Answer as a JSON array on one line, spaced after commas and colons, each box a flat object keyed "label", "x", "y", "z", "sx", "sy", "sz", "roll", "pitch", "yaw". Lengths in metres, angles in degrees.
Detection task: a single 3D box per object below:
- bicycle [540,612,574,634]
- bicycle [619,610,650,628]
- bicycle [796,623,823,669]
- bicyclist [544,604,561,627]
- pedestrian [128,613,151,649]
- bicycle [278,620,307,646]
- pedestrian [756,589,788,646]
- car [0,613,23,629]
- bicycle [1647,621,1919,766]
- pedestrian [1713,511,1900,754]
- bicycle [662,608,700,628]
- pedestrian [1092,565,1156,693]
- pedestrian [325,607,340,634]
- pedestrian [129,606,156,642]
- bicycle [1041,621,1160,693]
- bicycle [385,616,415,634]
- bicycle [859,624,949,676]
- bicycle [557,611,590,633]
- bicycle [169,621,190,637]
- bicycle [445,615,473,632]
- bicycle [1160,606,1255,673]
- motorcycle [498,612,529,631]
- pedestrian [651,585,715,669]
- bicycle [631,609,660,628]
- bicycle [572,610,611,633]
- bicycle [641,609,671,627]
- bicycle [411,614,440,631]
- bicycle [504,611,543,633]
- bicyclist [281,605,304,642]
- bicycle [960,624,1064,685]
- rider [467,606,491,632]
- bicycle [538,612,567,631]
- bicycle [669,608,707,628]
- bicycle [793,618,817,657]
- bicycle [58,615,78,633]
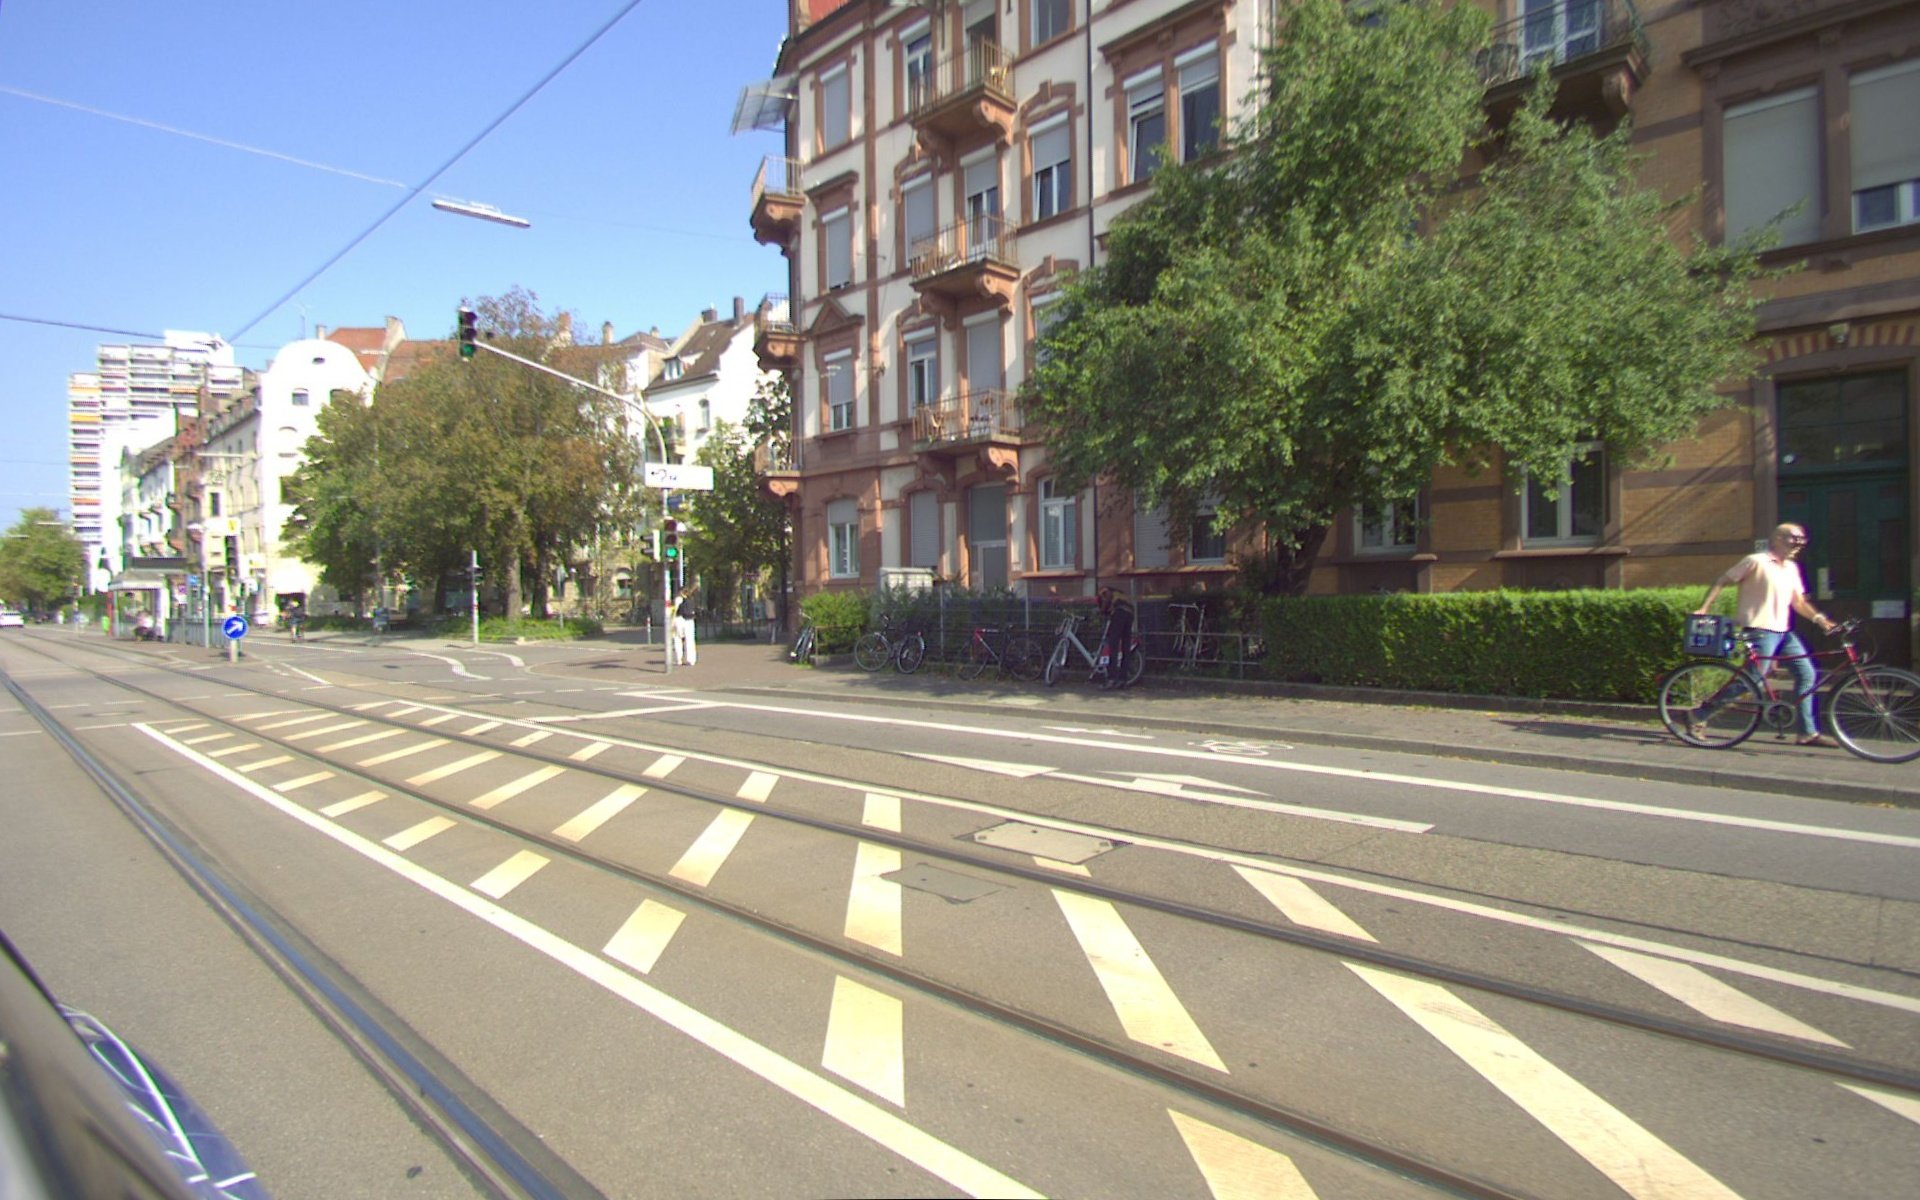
[{"label": "bicycle", "x": -26.595, "y": 1.502, "z": 66.782, "sx": 0.859, "sy": 1.381, "sz": 2.292, "roll": -1, "pitch": 0, "yaw": 15}, {"label": "bicycle", "x": -20.143, "y": 1.178, "z": 62.627, "sx": 2.333, "sy": 1.112, "sz": 0.763, "roll": -1, "pitch": 0, "yaw": 42}, {"label": "bicycle", "x": -3.115, "y": 0.928, "z": 21.033, "sx": 0.519, "sy": 0.866, "sz": 1.831, "roll": -1, "pitch": 0, "yaw": -8}, {"label": "bicyclist", "x": -24.439, "y": 0.945, "z": 60.674, "sx": 0.757, "sy": 1.370, "sz": 0.648, "roll": -1, "pitch": 0, "yaw": 36}, {"label": "pedestrian", "x": -34.696, "y": 1.302, "z": 42.799, "sx": 0.669, "sy": 1.467, "sz": 0.719, "roll": -1, "pitch": 0, "yaw": -45}, {"label": "bicycle", "x": -29.370, "y": 1.433, "z": 44.514, "sx": 0.676, "sy": 1.112, "sz": 2.071, "roll": -1, "pitch": 0, "yaw": -43}, {"label": "pedestrian", "x": -5.309, "y": 0.488, "z": 28.597, "sx": 0.828, "sy": 1.582, "sz": 0.948, "roll": -1, "pitch": 0, "yaw": -12}, {"label": "car", "x": -90.842, "y": 2.017, "z": 96.666, "sx": 3.923, "sy": 1.445, "sz": 1.709, "roll": -1, "pitch": 0, "yaw": 44}, {"label": "bicycle", "x": 6.668, "y": 0.681, "z": 7.827, "sx": 2.151, "sy": 1.014, "sz": 0.611, "roll": -1, "pitch": 0, "yaw": 44}, {"label": "pedestrian", "x": 6.866, "y": 0.247, "z": 8.224, "sx": 1.093, "sy": 1.820, "sz": 0.720, "roll": -1, "pitch": 0, "yaw": 43}, {"label": "bicycle", "x": -16.712, "y": 1.066, "z": 60.607, "sx": 2.059, "sy": 1.112, "sz": 0.658, "roll": -1, "pitch": 0, "yaw": -38}, {"label": "pedestrian", "x": 2.243, "y": 0.385, "z": 13.825, "sx": 0.632, "sy": 1.691, "sz": 0.632, "roll": -1, "pitch": 0, "yaw": 32}, {"label": "pedestrian", "x": -43.850, "y": 1.421, "z": 70.752, "sx": 0.672, "sy": 1.882, "sz": 0.726, "roll": -1, "pitch": 0, "yaw": 41}, {"label": "pedestrian", "x": -33.948, "y": 0.975, "z": 42.007, "sx": 0.783, "sy": 1.467, "sz": 0.719, "roll": -1, "pitch": 0, "yaw": -45}, {"label": "bicycle", "x": 1.958, "y": 0.782, "z": 14.317, "sx": 0.520, "sy": 0.934, "sz": 1.704, "roll": -1, "pitch": 0, "yaw": -42}, {"label": "bicycle", "x": -38.099, "y": 1.676, "z": 68.882, "sx": 0.687, "sy": 1.087, "sz": 2.340, "roll": -1, "pitch": 1, "yaw": 1}, {"label": "bicycle", "x": -1.013, "y": 0.860, "z": 17.869, "sx": 0.520, "sy": 0.866, "sz": 1.830, "roll": -1, "pitch": 0, "yaw": -42}, {"label": "bicycle", "x": -25.332, "y": 1.444, "z": 66.410, "sx": 0.859, "sy": 1.381, "sz": 2.292, "roll": -1, "pitch": 0, "yaw": 15}, {"label": "bicycle", "x": -57.307, "y": 2.148, "z": 74.307, "sx": 1.890, "sy": 1.112, "sz": 0.540, "roll": -1, "pitch": 0, "yaw": 31}, {"label": "bicycle", "x": -33.844, "y": 1.590, "z": 68.361, "sx": 0.687, "sy": 1.087, "sz": 2.340, "roll": -1, "pitch": 0, "yaw": 1}, {"label": "bicycle", "x": 3.574, "y": 0.549, "z": 14.549, "sx": 0.528, "sy": 0.866, "sz": 1.678, "roll": -2, "pitch": 0, "yaw": 44}, {"label": "motorcycle", "x": -30.141, "y": 1.449, "z": 68.328, "sx": 0.675, "sy": 1.186, "sz": 1.866, "roll": -1, "pitch": 1, "yaw": 29}, {"label": "pedestrian", "x": -6.118, "y": 0.585, "z": 22.308, "sx": 0.894, "sy": 1.779, "sz": 1.187, "roll": -1, "pitch": 0, "yaw": -42}, {"label": "bicycle", "x": -19.652, "y": 1.145, "z": 63.199, "sx": 2.333, "sy": 1.112, "sz": 0.647, "roll": -1, "pitch": 0, "yaw": 42}, {"label": "bicycle", "x": -23.929, "y": 1.388, "z": 65.734, "sx": 0.865, "sy": 1.381, "sz": 2.278, "roll": -1, "pitch": 0, "yaw": 32}, {"label": "bicycle", "x": -19.173, "y": 1.122, "z": 63.789, "sx": 2.333, "sy": 1.112, "sz": 0.647, "roll": -1, "pitch": 0, "yaw": 42}, {"label": "bicycle", "x": -36.566, "y": 1.534, "z": 69.218, "sx": 0.687, "sy": 1.087, "sz": 2.340, "roll": -1, "pitch": 0, "yaw": 1}, {"label": "bicycle", "x": -29.299, "y": 1.448, "z": 67.939, "sx": 0.865, "sy": 1.381, "sz": 2.277, "roll": -1, "pitch": 0, "yaw": 33}, {"label": "bicyclist", "x": -29.339, "y": 1.024, "z": 44.474, "sx": 0.665, "sy": 1.626, "sz": 1.045, "roll": -1, "pitch": 0, "yaw": -44}, {"label": "bicycle", "x": 0.771, "y": 0.807, "z": 15.527, "sx": 0.520, "sy": 0.866, "sz": 1.704, "roll": -1, "pitch": 0, "yaw": -42}, {"label": "rider", "x": -29.224, "y": 1.159, "z": 61.441, "sx": 0.982, "sy": 1.523, "sz": 1.116, "roll": -2, "pitch": 1, "yaw": -42}, {"label": "bicycle", "x": -24.419, "y": 1.307, "z": 60.666, "sx": 2.068, "sy": 1.112, "sz": 0.648, "roll": -1, "pitch": 0, "yaw": 37}, {"label": "bicycle", "x": -16.007, "y": 1.048, "z": 59.681, "sx": 2.059, "sy": 1.112, "sz": 0.658, "roll": -1, "pitch": 0, "yaw": -38}, {"label": "bicycle", "x": -3.740, "y": 0.894, "z": 24.427, "sx": 0.519, "sy": 0.866, "sz": 1.831, "roll": -1, "pitch": 0, "yaw": -8}, {"label": "bicycle", "x": -100.978, "y": 2.707, "z": 114.539, "sx": 3.551, "sy": 1.872, "sz": 1.003, "roll": -1, "pitch": 2, "yaw": 39}]
